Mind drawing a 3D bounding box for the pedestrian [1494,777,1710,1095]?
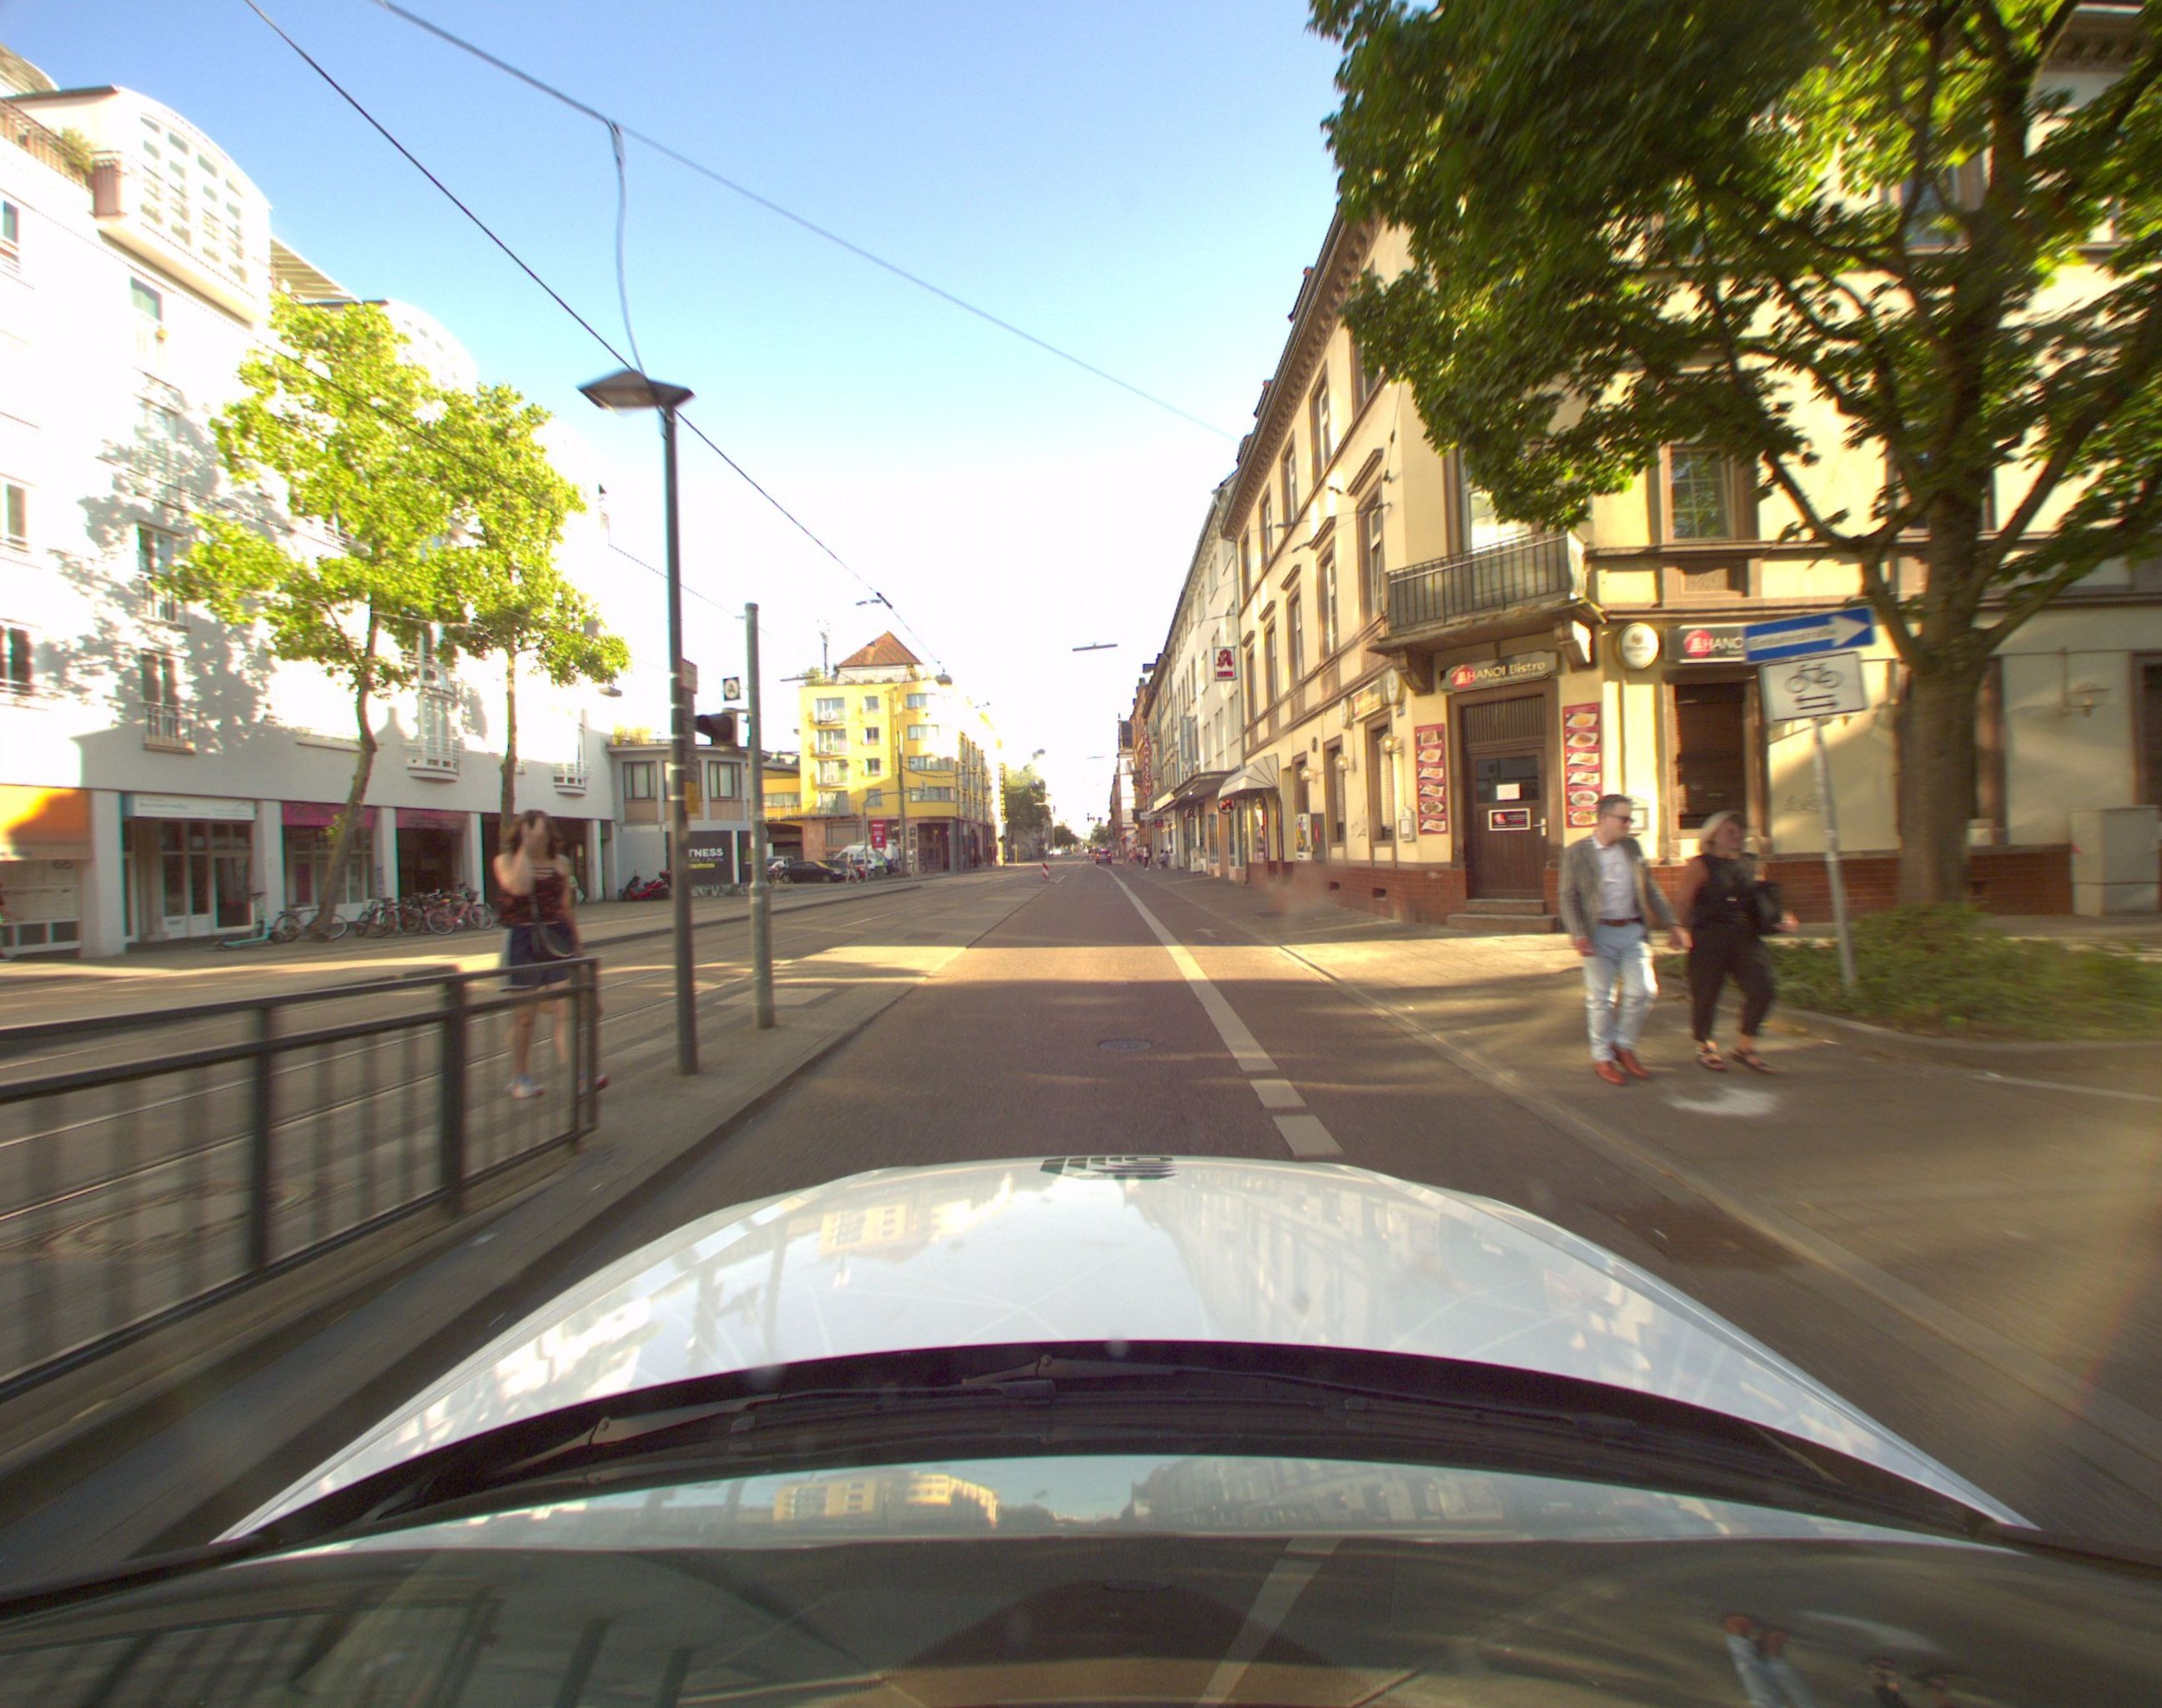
[{"bbox_3d":[3.198,0.465,5.071,0.711,1.774,0.772,-5,1,-2],"label":"pedestrian"}]

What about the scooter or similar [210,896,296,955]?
[{"bbox_3d":[-18.639,1.593,18.358,0.495,1.193,1.276,1,1,13],"label":"scooter or similar"}]

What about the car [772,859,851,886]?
[{"bbox_3d":[-16.817,1.125,50.954,4.304,1.510,1.801,-2,0,1],"label":"car"}]

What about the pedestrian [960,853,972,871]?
[{"bbox_3d":[-11.744,0.836,83.209,0.902,1.815,1.156,-2,0,12],"label":"pedestrian"}]

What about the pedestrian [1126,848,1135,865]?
[{"bbox_3d":[5.526,0.265,90.535,0.840,1.918,0.847,-2,0,-1],"label":"pedestrian"}]

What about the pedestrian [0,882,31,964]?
[{"bbox_3d":[-22.490,1.422,16.694,0.856,1.661,0.794,0,0,-2],"label":"pedestrian"}]

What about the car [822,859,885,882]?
[{"bbox_3d":[-16.389,1.151,58.773,3.972,1.510,1.801,-2,0,1],"label":"car"}]

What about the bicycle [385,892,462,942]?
[{"bbox_3d":[-16.993,1.605,21.095,0.496,1.107,1.801,1,1,2],"label":"bicycle"}]

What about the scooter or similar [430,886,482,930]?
[{"bbox_3d":[-18.455,1.591,24.077,0.496,1.193,1.272,-2,0,2],"label":"scooter or similar"}]

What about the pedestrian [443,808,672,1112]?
[{"bbox_3d":[-3.151,0.591,4.995,0.867,1.714,0.787,0,1,-2],"label":"pedestrian"}]

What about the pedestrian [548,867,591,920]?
[{"bbox_3d":[-16.810,1.283,26.799,1.018,1.661,0.914,0,0,-22],"label":"pedestrian"}]

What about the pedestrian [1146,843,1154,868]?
[{"bbox_3d":[5.133,0.117,60.560,0.557,1.796,0.652,-2,0,7],"label":"pedestrian"}]

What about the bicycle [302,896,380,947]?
[{"bbox_3d":[-17.798,1.609,19.608,0.494,1.107,1.280,1,1,28],"label":"bicycle"}]

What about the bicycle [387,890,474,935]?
[{"bbox_3d":[-17.920,1.577,22.459,0.494,1.107,1.811,1,1,41],"label":"bicycle"}]

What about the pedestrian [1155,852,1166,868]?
[{"bbox_3d":[5.474,0.398,55.961,0.687,1.043,0.681,-2,0,5],"label":"pedestrian"}]

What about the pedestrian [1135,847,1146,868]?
[{"bbox_3d":[5.550,0.289,75.977,0.846,1.918,1.034,-2,0,-1],"label":"pedestrian"}]

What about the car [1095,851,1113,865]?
[{"bbox_3d":[2.570,0.427,91.440,1.987,1.449,4.000,-2,0,1],"label":"car"}]

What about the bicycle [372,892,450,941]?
[{"bbox_3d":[-17.418,1.603,21.211,0.496,1.107,1.801,1,1,2],"label":"bicycle"}]

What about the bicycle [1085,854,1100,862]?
[{"bbox_3d":[1.580,0.528,115.032,1.918,1.003,0.758,-3,0,18],"label":"bicycle"}]

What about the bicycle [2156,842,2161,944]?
[{"bbox_3d":[11.378,0.382,7.567,1.597,1.014,0.461,-1,2,35],"label":"bicycle"}]

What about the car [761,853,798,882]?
[{"bbox_3d":[-23.719,1.047,64.253,1.793,2.208,3.990,-2,0,-7],"label":"car"}]

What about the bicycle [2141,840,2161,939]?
[{"bbox_3d":[11.929,0.353,8.109,1.597,1.014,0.461,-1,2,35],"label":"bicycle"}]

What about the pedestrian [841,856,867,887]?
[{"bbox_3d":[-13.594,1.021,48.789,0.899,1.815,1.159,-2,0,32],"label":"pedestrian"}]

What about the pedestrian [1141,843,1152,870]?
[{"bbox_3d":[4.517,0.167,56.209,0.645,1.796,0.562,-2,0,5],"label":"pedestrian"}]

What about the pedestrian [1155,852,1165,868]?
[{"bbox_3d":[5.501,0.403,56.725,0.687,1.043,0.681,-2,0,5],"label":"pedestrian"}]

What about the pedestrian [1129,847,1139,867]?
[{"bbox_3d":[5.250,0.325,80.550,0.840,1.918,0.661,-2,0,-1],"label":"pedestrian"}]

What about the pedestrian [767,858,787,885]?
[{"bbox_3d":[-19.202,1.117,51.439,0.896,1.652,0.754,-1,0,-42],"label":"pedestrian"}]

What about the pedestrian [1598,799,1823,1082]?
[{"bbox_3d":[3.939,0.501,5.157,0.711,1.602,0.772,-5,1,-2],"label":"pedestrian"}]

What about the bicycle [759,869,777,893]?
[{"bbox_3d":[-15.604,1.326,40.585,0.499,1.107,1.793,-2,0,-11],"label":"bicycle"}]

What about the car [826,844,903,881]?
[{"bbox_3d":[-16.285,0.644,61.353,5.087,2.575,2.129,-2,0,1],"label":"car"}]

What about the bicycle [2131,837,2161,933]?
[{"bbox_3d":[12.316,0.321,8.498,1.597,1.014,0.461,-1,2,35],"label":"bicycle"}]

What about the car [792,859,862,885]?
[{"bbox_3d":[-16.728,1.167,53.663,3.972,1.510,1.801,-2,0,1],"label":"car"}]

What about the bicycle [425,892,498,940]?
[{"bbox_3d":[-16.426,1.613,21.648,0.496,1.107,1.801,1,1,2],"label":"bicycle"}]

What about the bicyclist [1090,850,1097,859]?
[{"bbox_3d":[1.737,0.098,114.978,0.704,1.220,0.758,-3,0,19],"label":"bicyclist"}]

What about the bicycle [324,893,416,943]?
[{"bbox_3d":[-18.119,1.595,20.796,0.495,1.107,1.807,1,1,13],"label":"bicycle"}]

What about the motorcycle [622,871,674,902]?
[{"bbox_3d":[-18.262,1.371,34.374,1.791,1.298,0.605,1,0,-6],"label":"motorcycle"}]

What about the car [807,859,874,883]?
[{"bbox_3d":[-16.573,1.160,56.243,3.972,1.510,1.801,-2,0,1],"label":"car"}]

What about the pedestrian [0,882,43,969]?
[{"bbox_3d":[-21.551,1.408,16.113,0.856,1.661,0.879,0,0,-2],"label":"pedestrian"}]
